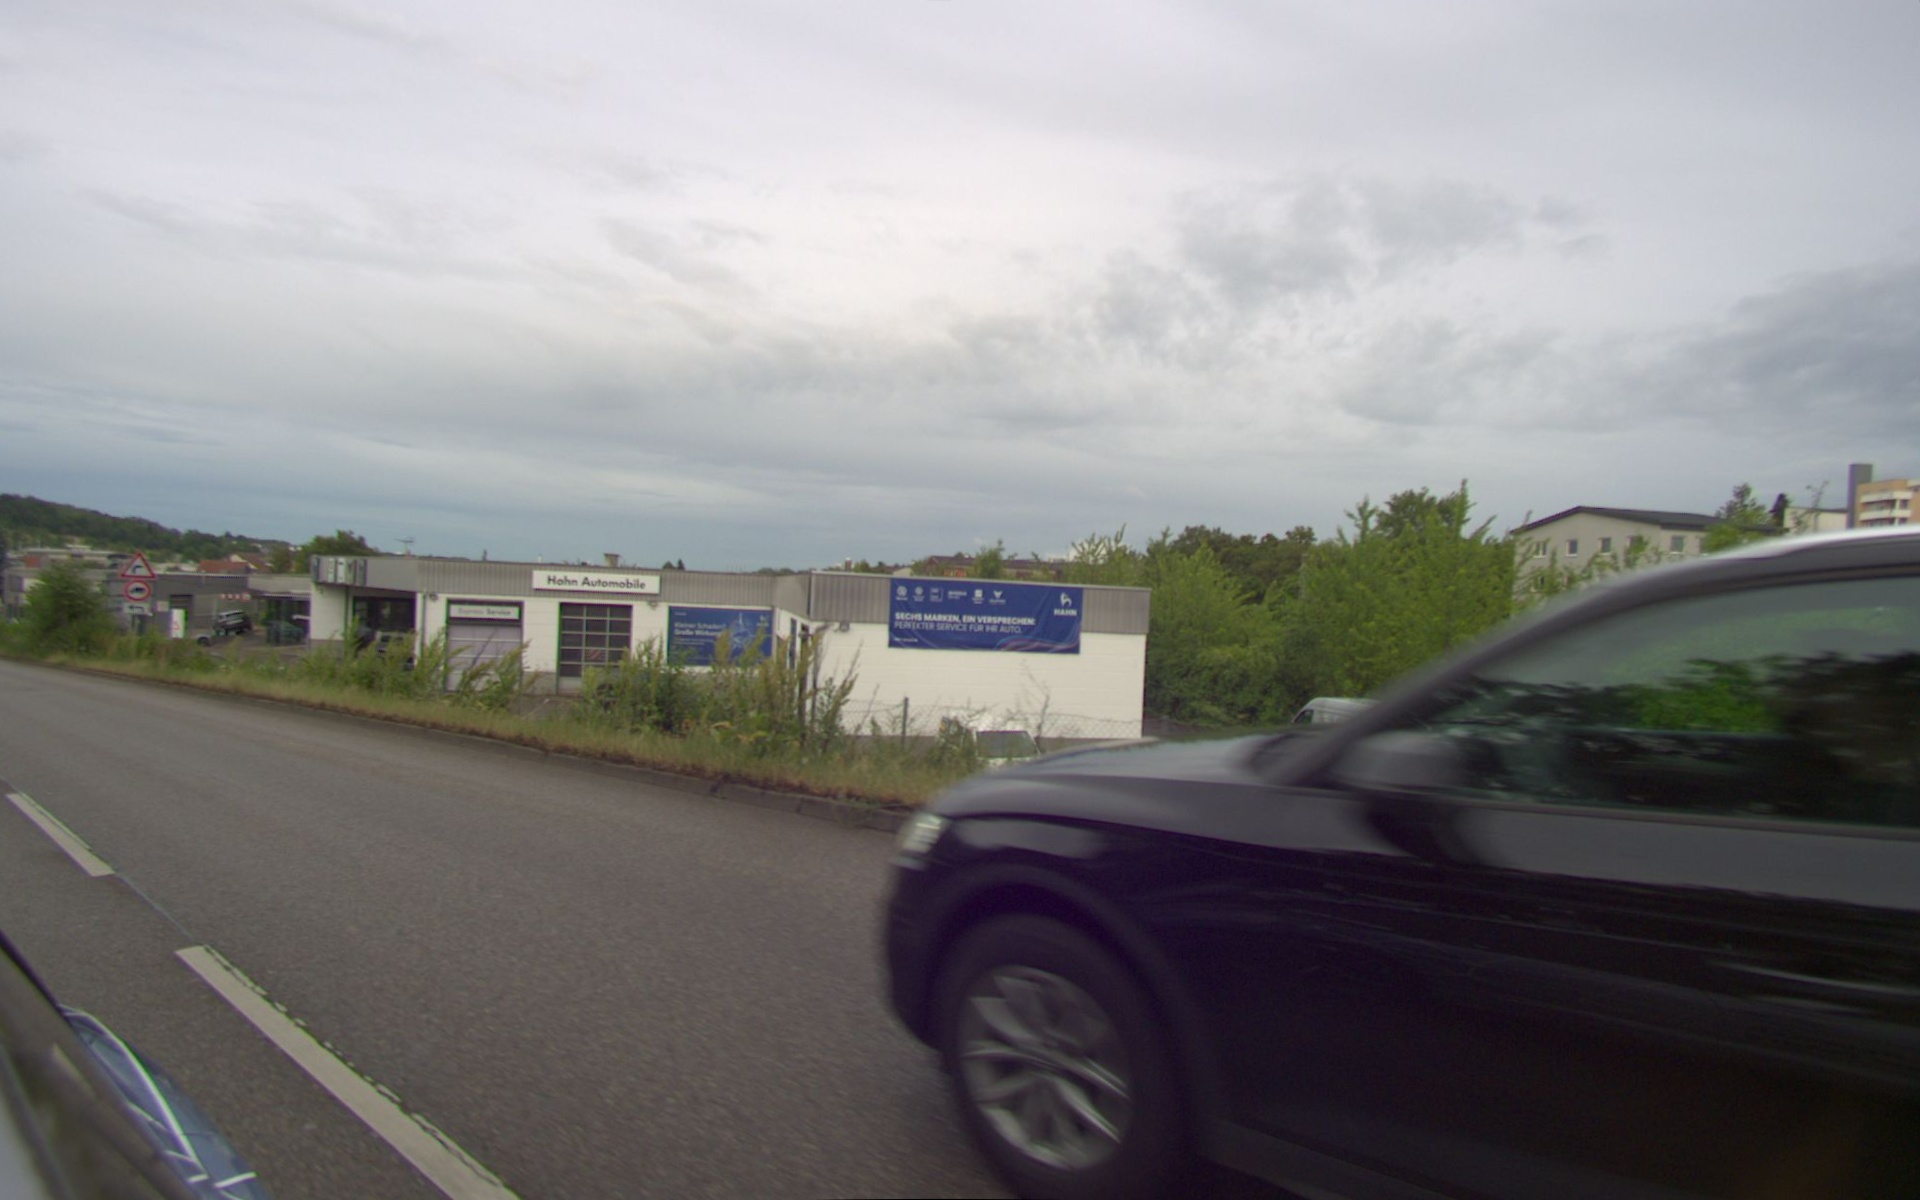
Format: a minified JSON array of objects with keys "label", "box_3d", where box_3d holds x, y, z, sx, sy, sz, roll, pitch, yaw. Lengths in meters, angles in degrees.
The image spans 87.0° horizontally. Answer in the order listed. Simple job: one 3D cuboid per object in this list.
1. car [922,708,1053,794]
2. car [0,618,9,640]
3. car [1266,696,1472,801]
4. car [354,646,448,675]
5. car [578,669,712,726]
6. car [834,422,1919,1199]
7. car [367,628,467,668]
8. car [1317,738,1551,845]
[{"label":"car","box_3d":[0.602,3.834,26.250,1.835,1.817,4.655,5,-6,-18]},{"label":"car","box_3d":[-83.081,2.384,84.508,1.817,1.885,5.029,0,-2,31]},{"label":"car","box_3d":[12.103,4.338,30.640,1.951,2.480,6.615,4,-4,-17]},{"label":"car","box_3d":[-29.223,3.157,53.014,3.954,1.427,1.959,1,-2,-16]},{"label":"car","box_3d":[-11.812,3.677,38.282,4.565,1.817,1.872,5,-6,-12]},{"label":"car","box_3d":[1.966,0.605,2.005,4.411,1.597,1.850,1,-3,40]},{"label":"car","box_3d":[-29.849,2.633,55.801,4.410,1.975,1.994,3,-2,-14]},{"label":"car","box_3d":[9.958,4.002,21.703,1.835,1.705,4.655,5,-6,-18]}]
